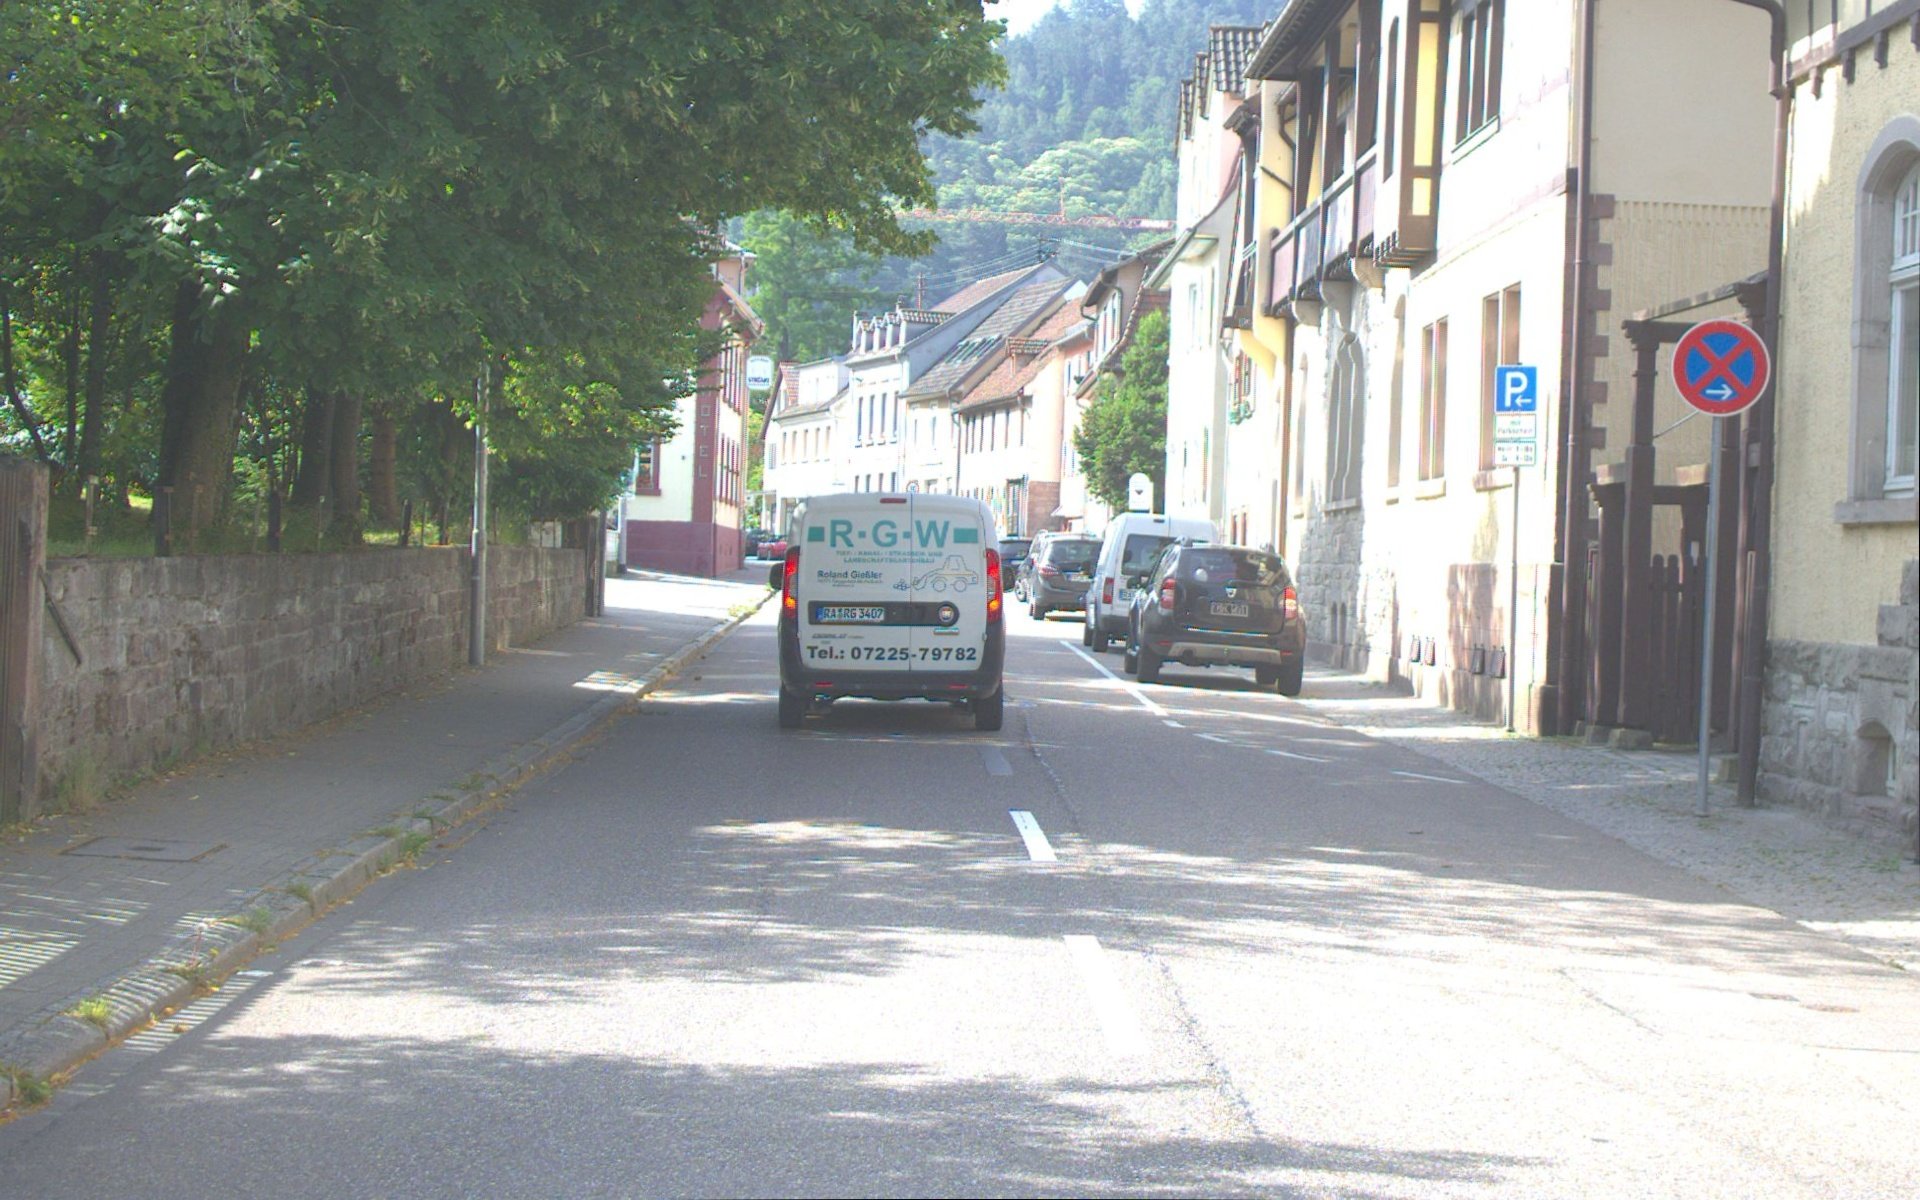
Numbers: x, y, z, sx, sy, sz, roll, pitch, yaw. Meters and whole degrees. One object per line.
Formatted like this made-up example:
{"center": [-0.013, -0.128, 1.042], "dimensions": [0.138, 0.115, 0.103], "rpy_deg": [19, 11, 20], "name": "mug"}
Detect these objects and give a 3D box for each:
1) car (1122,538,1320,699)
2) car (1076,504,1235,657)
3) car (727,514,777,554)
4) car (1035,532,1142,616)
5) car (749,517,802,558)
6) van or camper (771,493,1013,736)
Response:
{"center": [2.914, 0.170, 39.100], "dimensions": [1.810, 1.591, 3.927], "rpy_deg": [4, 1, -1], "name": "car"}
{"center": [2.766, -0.301, 49.393], "dimensions": [1.871, 2.007, 4.000], "rpy_deg": [3, 1, -1], "name": "car"}
{"center": [-9.994, -3.180, 165.114], "dimensions": [1.771, 1.792, 4.001], "rpy_deg": [2, 1, -12], "name": "car"}
{"center": [2.426, -0.512, 65.636], "dimensions": [1.669, 1.503, 4.001], "rpy_deg": [1, 1, -3], "name": "car"}
{"center": [-8.511, -2.890, 158.601], "dimensions": [1.771, 1.792, 4.001], "rpy_deg": [2, 1, -12], "name": "car"}
{"center": [-0.583, 0.046, 28.172], "dimensions": [1.828, 1.838, 4.189], "rpy_deg": [0, 2, -2], "name": "van or camper"}
